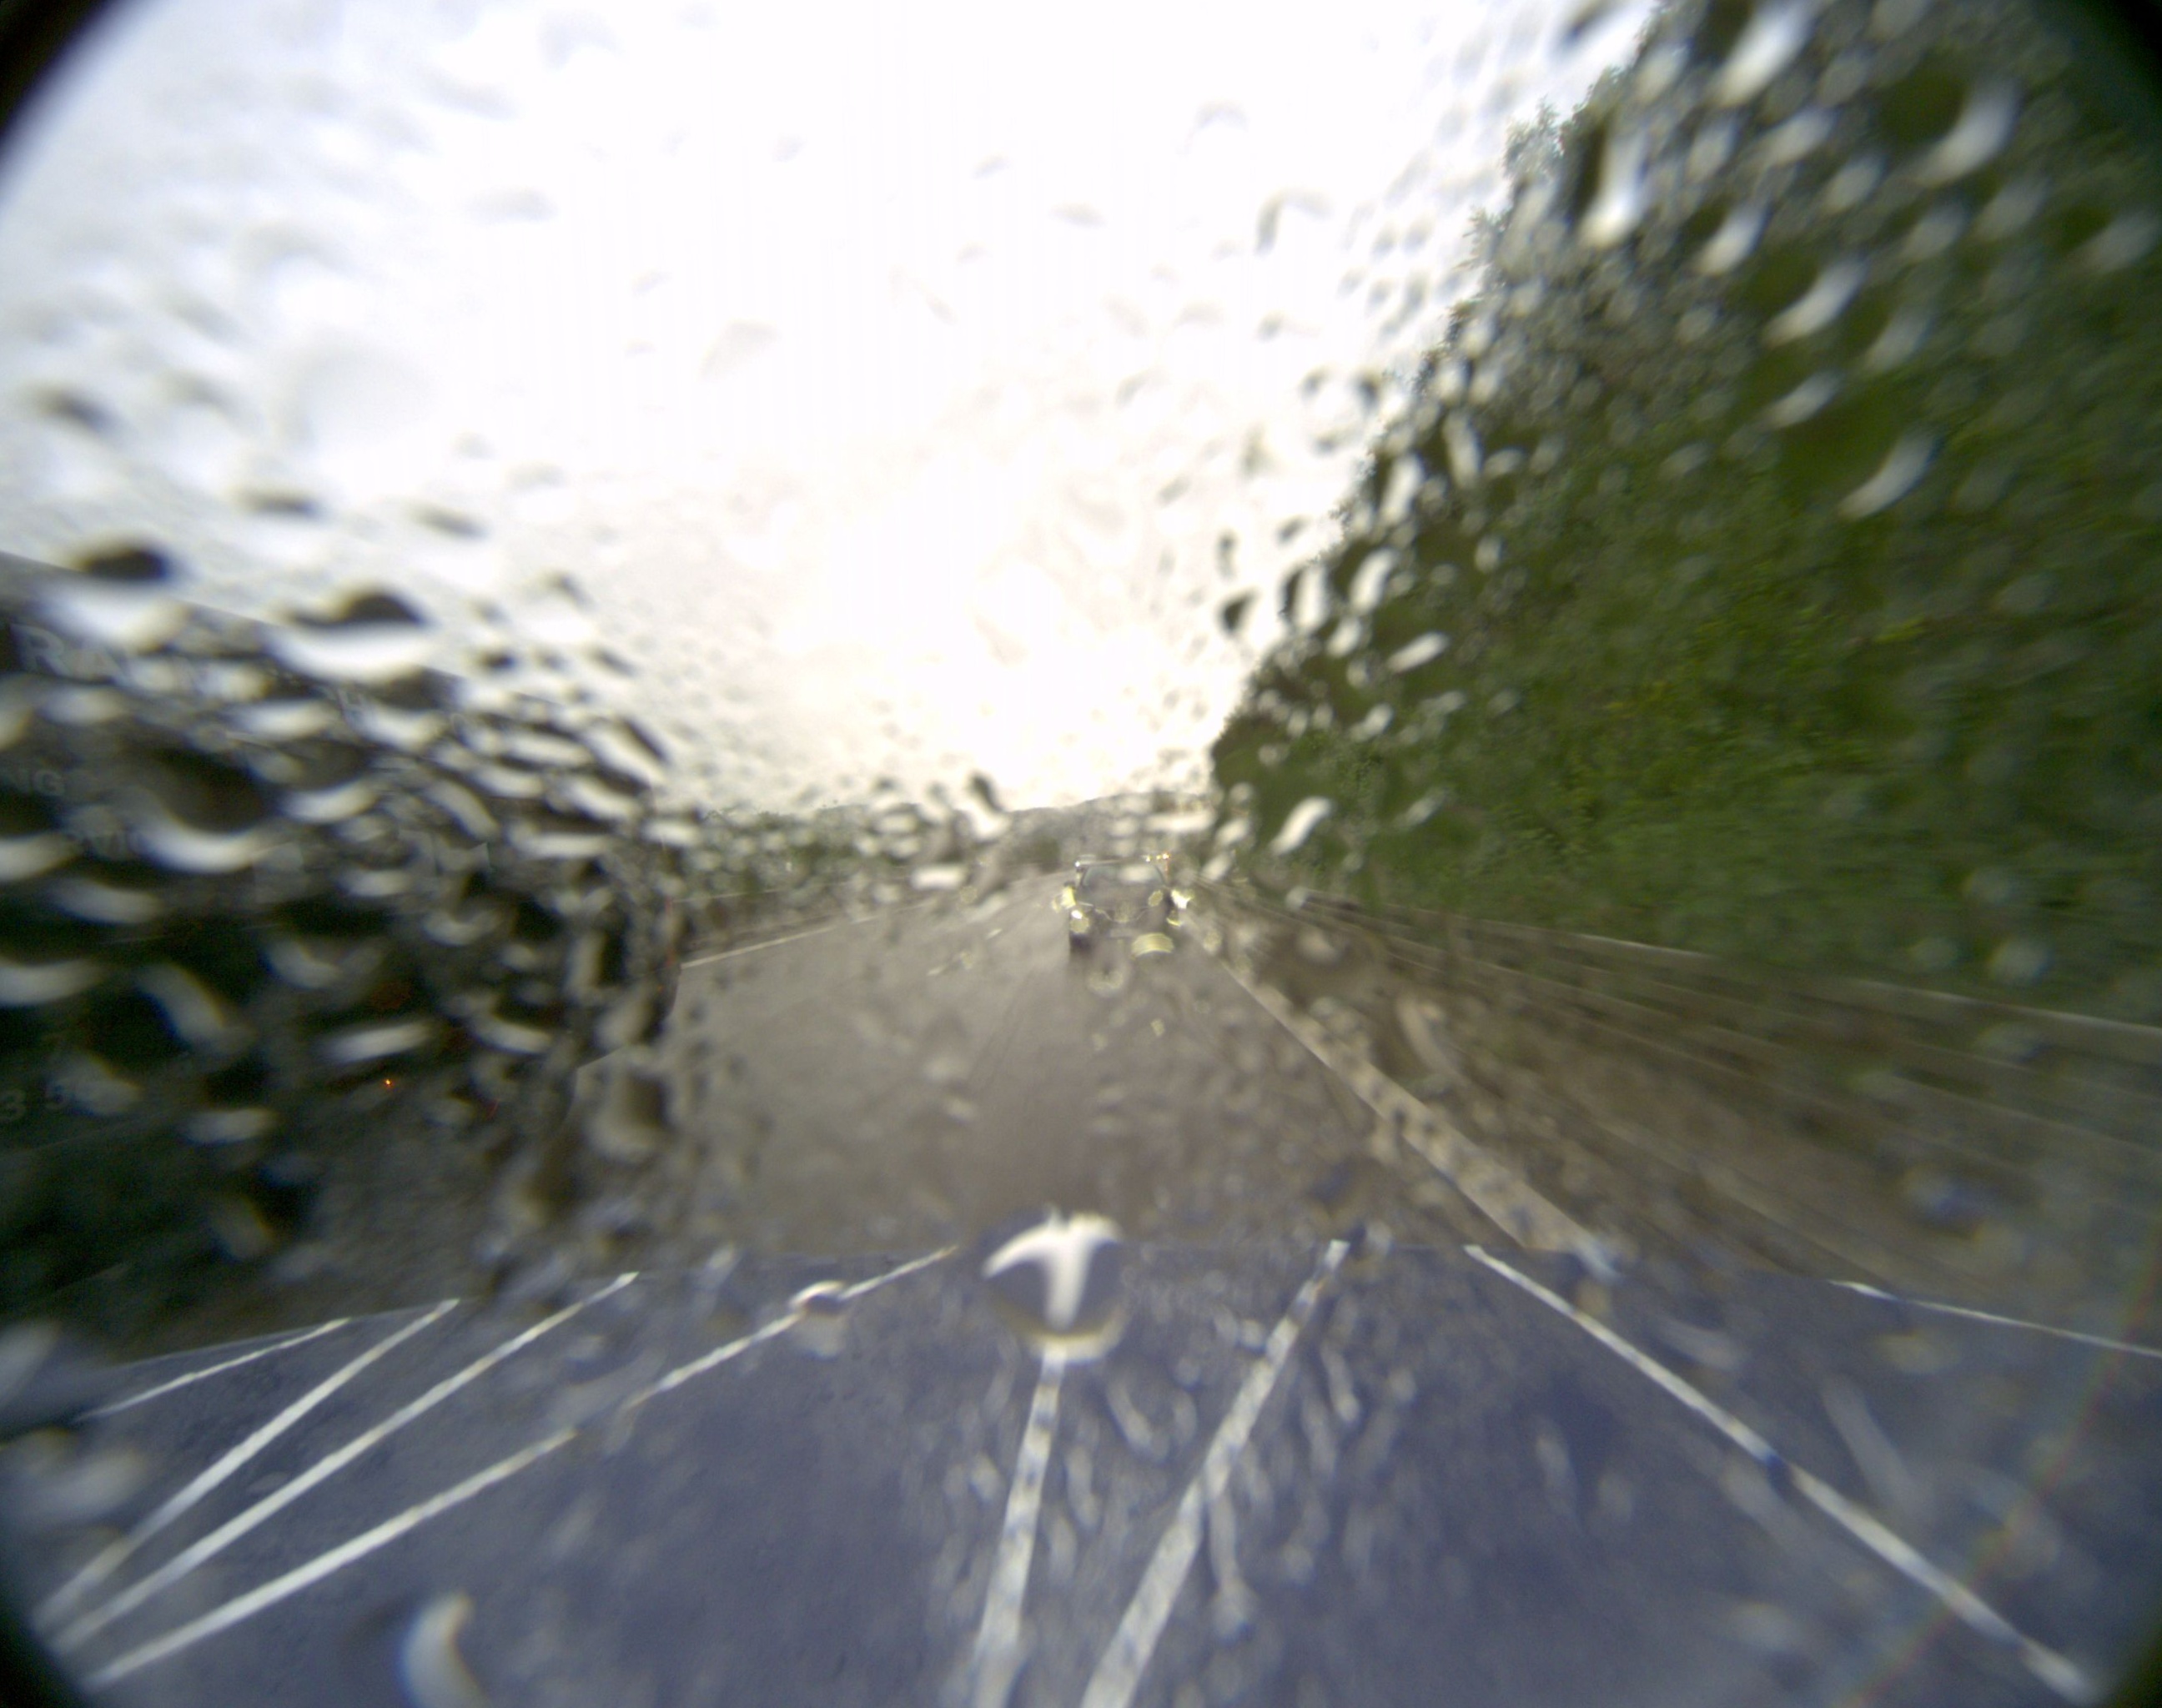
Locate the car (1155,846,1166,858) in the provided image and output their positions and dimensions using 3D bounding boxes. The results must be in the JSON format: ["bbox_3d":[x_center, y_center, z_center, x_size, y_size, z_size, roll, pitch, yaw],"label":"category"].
[{"bbox_3d":[12.768,-0.288,122.301,1.591,1.895,3.754,-1,0,2],"label":"car"}]

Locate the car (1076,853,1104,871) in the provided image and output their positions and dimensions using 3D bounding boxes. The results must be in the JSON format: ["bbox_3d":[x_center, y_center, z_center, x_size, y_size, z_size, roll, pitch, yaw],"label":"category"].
[{"bbox_3d":[0.806,0.672,67.752,1.989,1.407,4.566,-3,0,6],"label":"car"}]

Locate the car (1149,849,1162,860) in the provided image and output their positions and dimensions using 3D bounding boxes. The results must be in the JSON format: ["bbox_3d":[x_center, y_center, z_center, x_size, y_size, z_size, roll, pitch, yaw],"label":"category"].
[{"bbox_3d":[10.646,0.017,108.053,1.657,1.535,3.664,-1,0,3],"label":"car"}]

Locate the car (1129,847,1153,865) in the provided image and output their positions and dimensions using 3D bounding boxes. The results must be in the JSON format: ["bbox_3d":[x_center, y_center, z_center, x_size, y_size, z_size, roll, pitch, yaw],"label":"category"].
[{"bbox_3d":[5.729,0.179,72.196,1.905,1.545,4.566,-3,0,8],"label":"car"}]

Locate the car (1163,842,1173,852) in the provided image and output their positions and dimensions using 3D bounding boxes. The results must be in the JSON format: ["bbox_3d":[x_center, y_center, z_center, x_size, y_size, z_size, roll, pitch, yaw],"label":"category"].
[{"bbox_3d":[18.217,-1.504,158.729,1.908,2.002,4.001,-2,1,5],"label":"car"}]

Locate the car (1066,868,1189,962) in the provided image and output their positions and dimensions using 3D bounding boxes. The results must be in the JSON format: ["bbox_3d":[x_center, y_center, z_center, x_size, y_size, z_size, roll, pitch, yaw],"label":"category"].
[{"bbox_3d":[0.770,0.970,13.641,1.839,1.316,4.135,-1,0,2],"label":"car"}]

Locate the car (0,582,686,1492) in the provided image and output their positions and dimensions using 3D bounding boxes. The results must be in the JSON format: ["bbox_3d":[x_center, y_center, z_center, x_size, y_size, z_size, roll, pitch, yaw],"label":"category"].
[{"bbox_3d":[-3.955,0.515,2.181,1.998,2.480,6.704,-2,0,1],"label":"car"}]

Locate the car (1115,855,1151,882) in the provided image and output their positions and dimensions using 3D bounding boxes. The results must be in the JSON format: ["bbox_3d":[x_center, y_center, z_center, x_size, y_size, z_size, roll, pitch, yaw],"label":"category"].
[{"bbox_3d":[2.937,0.752,42.222,1.712,1.316,3.947,-3,0,8],"label":"car"}]
